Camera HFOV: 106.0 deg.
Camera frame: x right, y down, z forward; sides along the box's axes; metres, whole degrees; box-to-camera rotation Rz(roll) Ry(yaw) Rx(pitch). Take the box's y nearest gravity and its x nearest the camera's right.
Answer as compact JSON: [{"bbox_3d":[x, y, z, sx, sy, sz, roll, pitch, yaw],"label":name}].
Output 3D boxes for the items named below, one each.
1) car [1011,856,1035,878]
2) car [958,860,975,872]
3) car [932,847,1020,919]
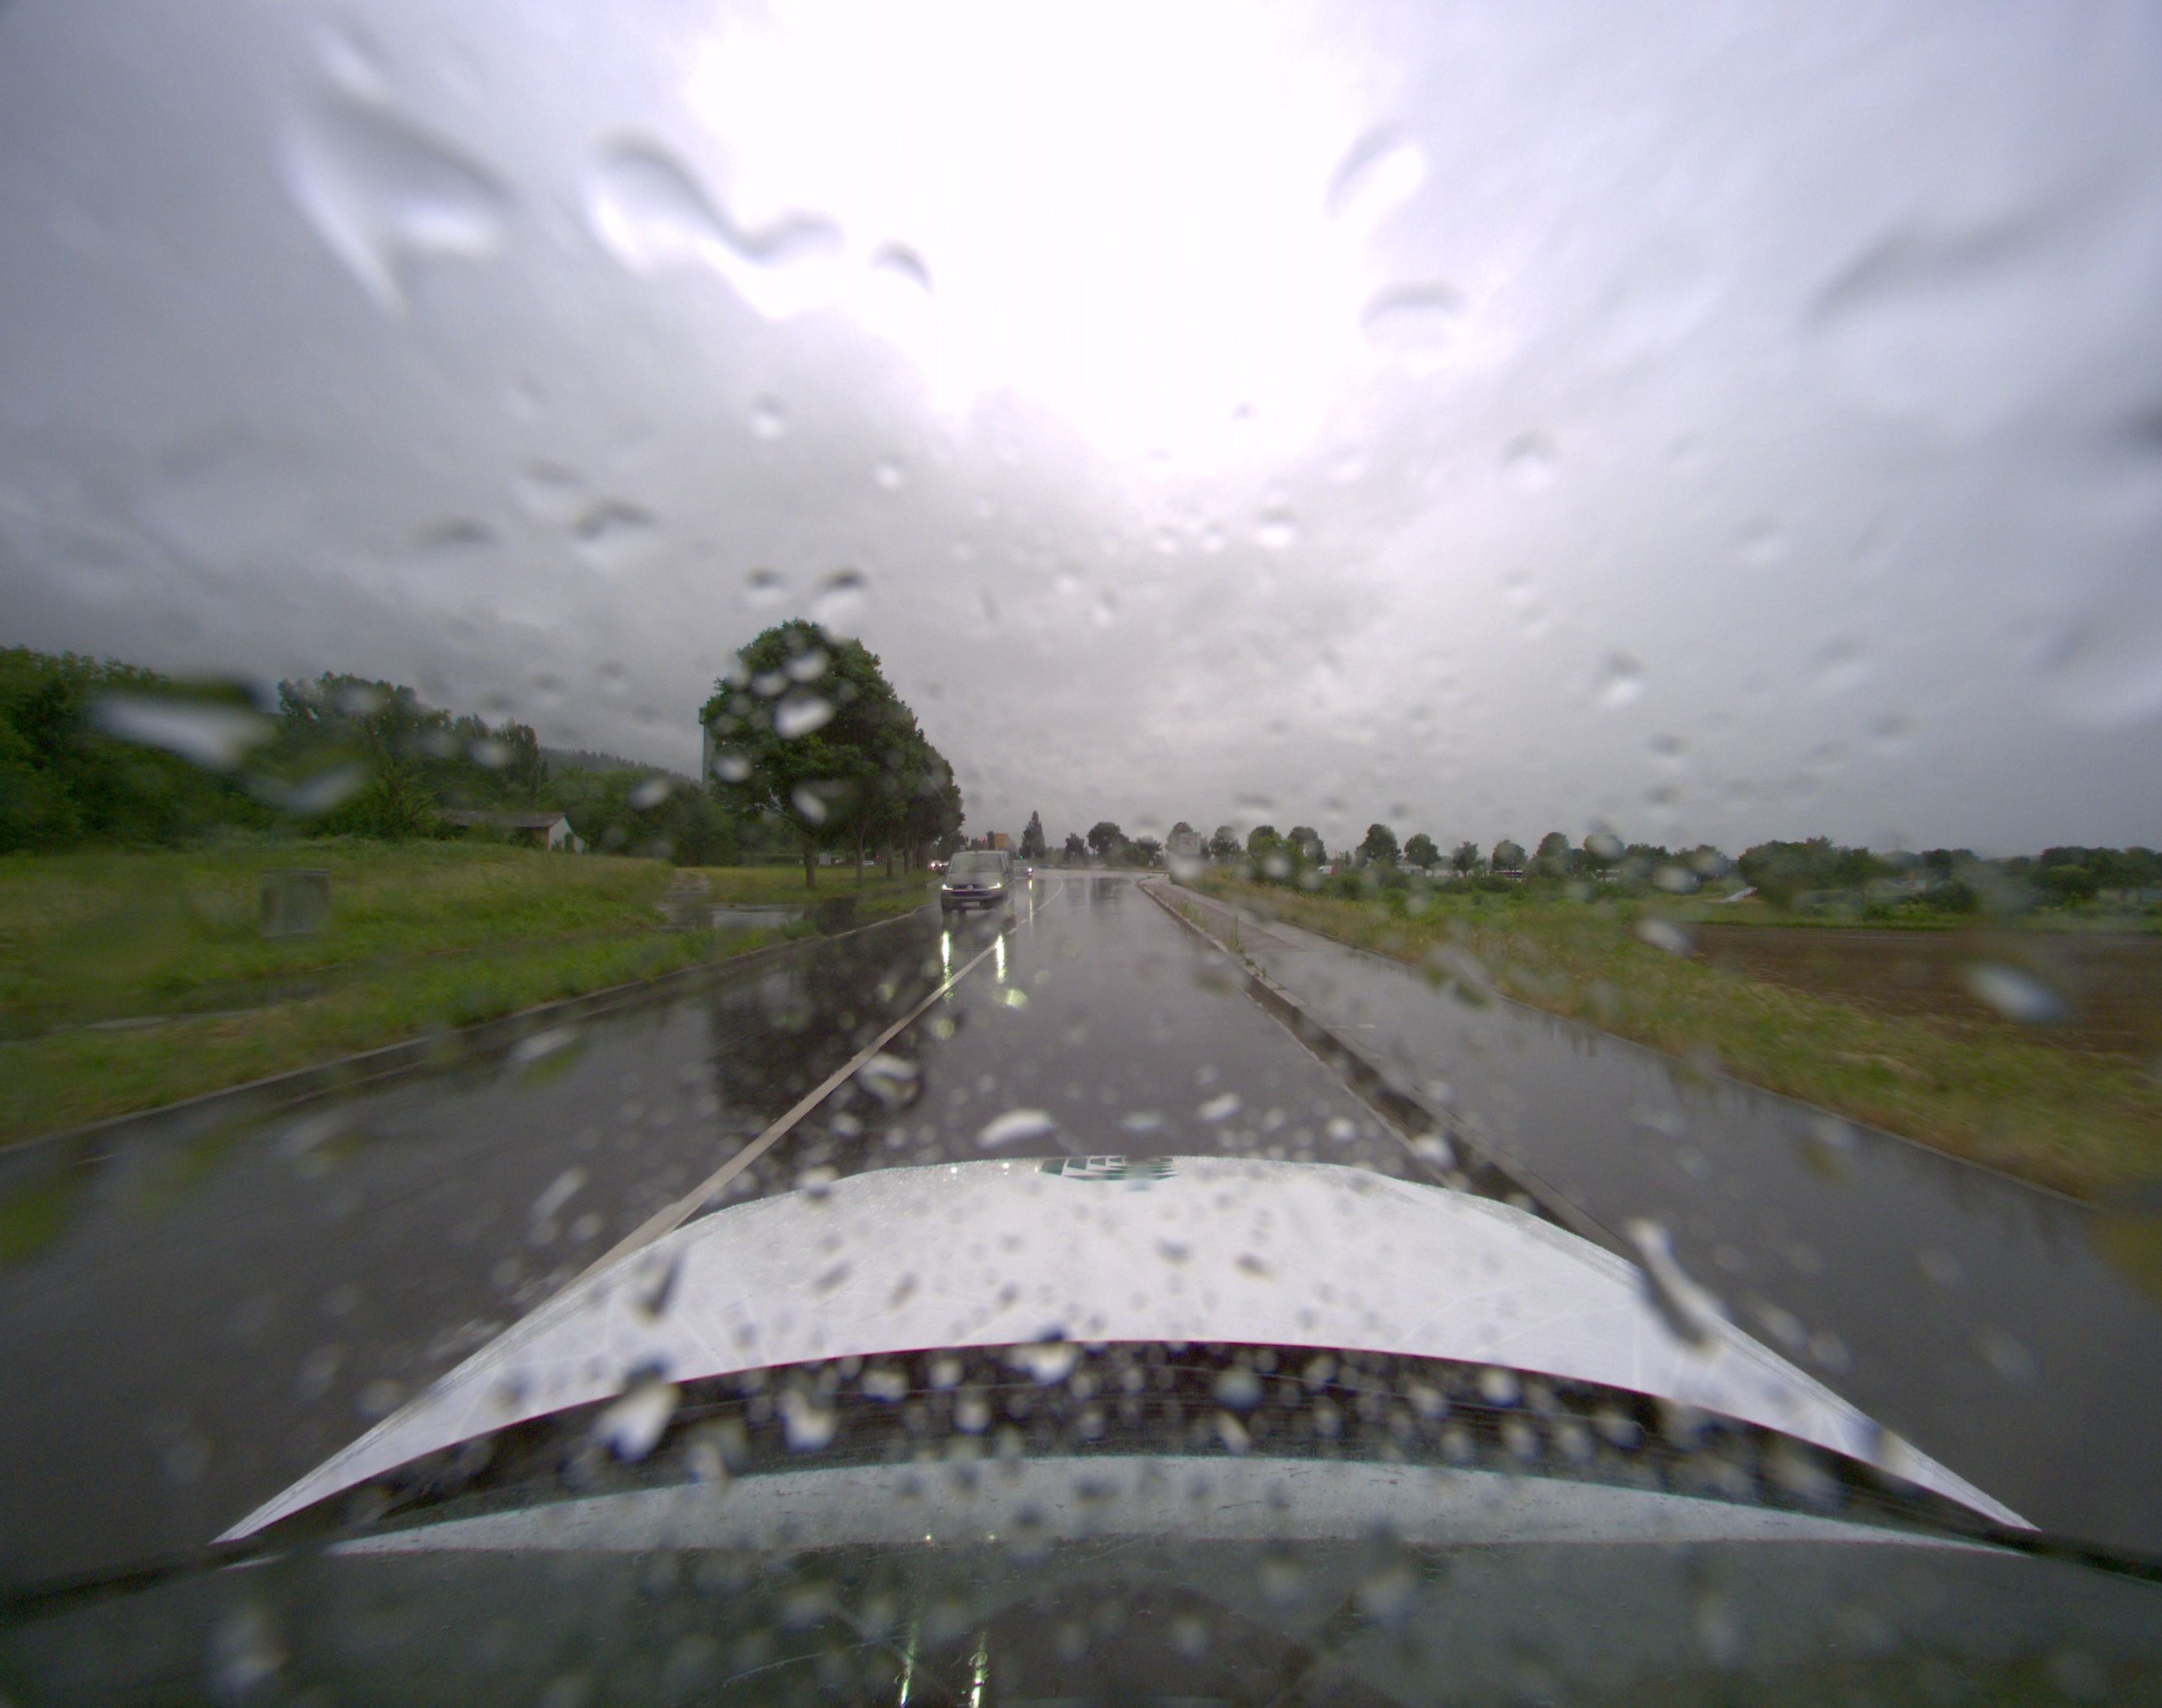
[{"bbox_3d":[-5.095,1.134,71.109,1.903,1.721,3.992,-3,0,-6],"label":"car"},{"bbox_3d":[-19.851,2.083,140.808,2.000,2.014,3.973,3,-1,-20],"label":"car"},{"bbox_3d":[-3.114,0.828,25.255,1.987,1.972,4.957,-2,0,1],"label":"car"}]
